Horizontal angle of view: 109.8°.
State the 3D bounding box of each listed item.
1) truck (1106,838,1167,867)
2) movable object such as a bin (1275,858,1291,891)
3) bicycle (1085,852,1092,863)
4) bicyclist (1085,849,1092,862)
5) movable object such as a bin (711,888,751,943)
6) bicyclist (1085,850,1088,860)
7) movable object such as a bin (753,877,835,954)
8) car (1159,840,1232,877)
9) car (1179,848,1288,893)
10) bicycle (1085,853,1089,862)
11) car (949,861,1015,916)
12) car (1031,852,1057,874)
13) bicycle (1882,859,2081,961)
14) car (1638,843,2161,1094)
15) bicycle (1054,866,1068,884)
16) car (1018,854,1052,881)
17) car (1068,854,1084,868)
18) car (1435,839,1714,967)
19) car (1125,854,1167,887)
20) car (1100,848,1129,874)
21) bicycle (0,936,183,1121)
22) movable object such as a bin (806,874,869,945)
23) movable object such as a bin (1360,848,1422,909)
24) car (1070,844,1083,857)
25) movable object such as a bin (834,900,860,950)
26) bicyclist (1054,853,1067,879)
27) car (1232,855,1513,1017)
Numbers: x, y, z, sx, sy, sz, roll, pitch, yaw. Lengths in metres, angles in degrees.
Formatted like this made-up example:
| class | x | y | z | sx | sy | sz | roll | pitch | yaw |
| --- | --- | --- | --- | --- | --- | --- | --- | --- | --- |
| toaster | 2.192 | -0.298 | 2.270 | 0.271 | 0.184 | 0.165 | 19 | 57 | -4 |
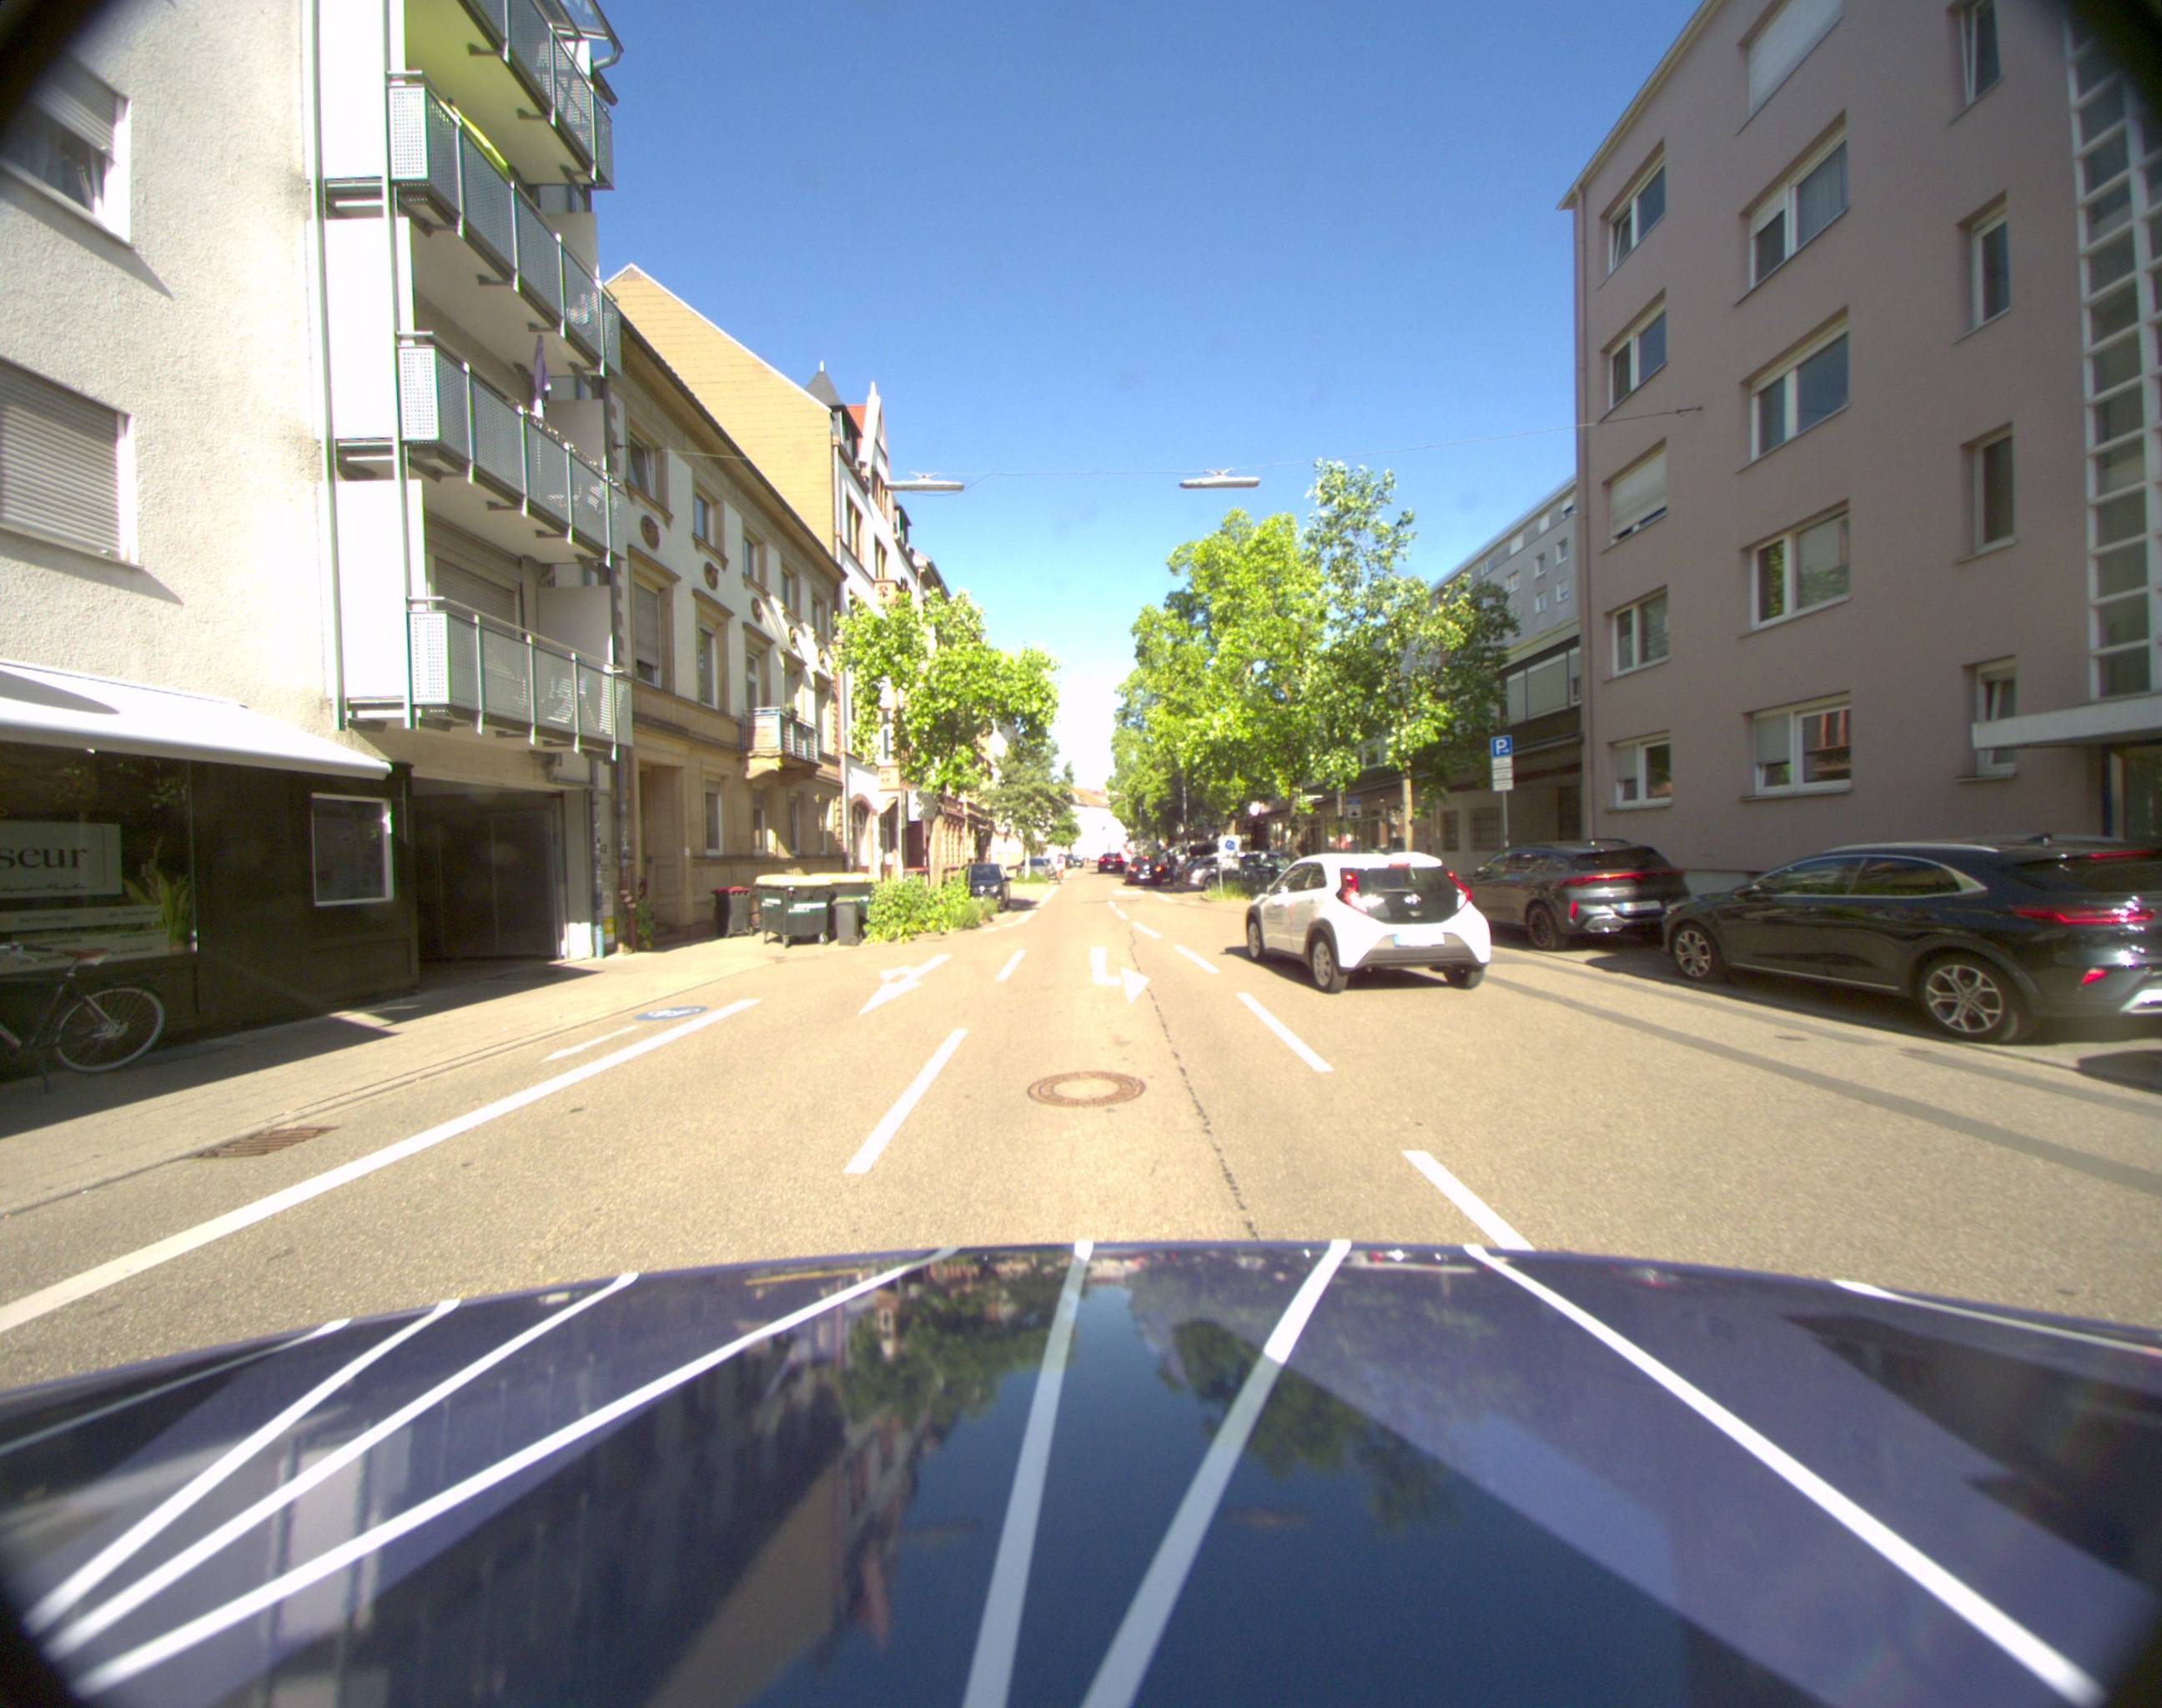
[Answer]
| class | x | y | z | sx | sy | sz | roll | pitch | yaw |
| --- | --- | --- | --- | --- | --- | --- | --- | --- | --- |
| truck | 5.210 | -0.180 | 71.615 | 5.322 | 2.581 | 1.998 | -2 | 1 | -9 |
| movable object such as a bin | 7.616 | 0.785 | 28.686 | 0.488 | 1.218 | 0.409 | -2 | 1 | 1 |
| bicycle | 0.854 | 0.405 | 90.626 | 0.778 | 1.139 | 2.259 | -3 | 1 | 1 |
| bicyclist | 0.841 | 0.182 | 90.624 | 0.748 | 1.588 | 0.613 | -3 | 1 | 1 |
| movable object such as a bin | -7.322 | 1.271 | 15.904 | 0.615 | 1.075 | 0.568 | 2 | 3 | 42 |
| bicyclist | 0.851 | 0.135 | 109.954 | 0.417 | 1.415 | 0.324 | -2 | 1 | 1 |
| movable object such as a bin | -5.592 | 1.160 | 14.788 | 1.212 | 1.318 | 1.052 | 2 | 3 | 42 |
| car | 6.703 | 0.264 | 44.787 | 3.997 | 2.020 | 2.000 | -2 | 1 | 1 |
| car | 6.085 | 0.636 | 30.680 | 3.997 | 1.665 | 2.000 | -2 | 1 | 1 |
| bicycle | 0.869 | 0.538 | 109.924 | 0.422 | 1.292 | 1.762 | -2 | 0 | 0 |
| car | -2.973 | 1.012 | 23.376 | 1.551 | 1.483 | 3.351 | -2 | 0 | 0 |
| car | -2.635 | 0.650 | 55.214 | 1.653 | 1.483 | 3.290 | -2 | 0 | 0 |
| bicycle | 10.757 | 0.620 | 9.165 | 0.391 | 1.070 | 1.650 | -6 | 1 | 2 |
| car | 7.513 | 0.711 | 6.927 | 1.821 | 1.499 | 4.245 | -4 | 0 | 2 |
| bicycle | -1.089 | 1.122 | 40.910 | 0.612 | 0.876 | 1.813 | -1 | -1 | -5 |
| car | -2.748 | 0.763 | 45.899 | 1.759 | 1.492 | 3.949 | -2 | 0 | 0 |
| car | -0.520 | 0.757 | 82.386 | 1.653 | 1.447 | 3.290 | -2 | 0 | 1 |
| car | 7.587 | 0.649 | 12.268 | 1.821 | 1.583 | 4.141 | -5 | 0 | 2 |
| car | 3.187 | 0.771 | 37.788 | 1.867 | 1.455 | 4.000 | -2 | 0 | 3 |
| car | 2.496 | 0.490 | 57.705 | 1.994 | 1.599 | 4.259 | -3 | 3 | 1 |
| bicycle | -7.750 | 1.281 | 5.458 | 0.402 | 1.171 | 1.792 | -2 | 0 | 1 |
| movable object such as a bin | -5.089 | 1.122 | 15.865 | 0.960 | 1.341 | 1.066 | -1 | 2 | -38 |
| movable object such as a bin | 8.131 | 0.639 | 20.004 | 1.247 | 1.536 | 1.019 | -2 | 1 | 5 |
| car | -0.672 | -0.564 | 126.506 | 1.998 | 2.002 | 4.000 | -2 | 0 | 1 |
| movable object such as a bin | -4.582 | 1.384 | 14.900 | 0.401 | 0.916 | 0.484 | 0 | 2 | -7 |
| bicyclist | -1.091 | 0.654 | 40.779 | 0.610 | 1.338 | 1.018 | -2 | 0 | -5 |
| car | 3.267 | 0.808 | 9.401 | 1.770 | 1.528 | 3.784 | -2 | 0 | -4 |
